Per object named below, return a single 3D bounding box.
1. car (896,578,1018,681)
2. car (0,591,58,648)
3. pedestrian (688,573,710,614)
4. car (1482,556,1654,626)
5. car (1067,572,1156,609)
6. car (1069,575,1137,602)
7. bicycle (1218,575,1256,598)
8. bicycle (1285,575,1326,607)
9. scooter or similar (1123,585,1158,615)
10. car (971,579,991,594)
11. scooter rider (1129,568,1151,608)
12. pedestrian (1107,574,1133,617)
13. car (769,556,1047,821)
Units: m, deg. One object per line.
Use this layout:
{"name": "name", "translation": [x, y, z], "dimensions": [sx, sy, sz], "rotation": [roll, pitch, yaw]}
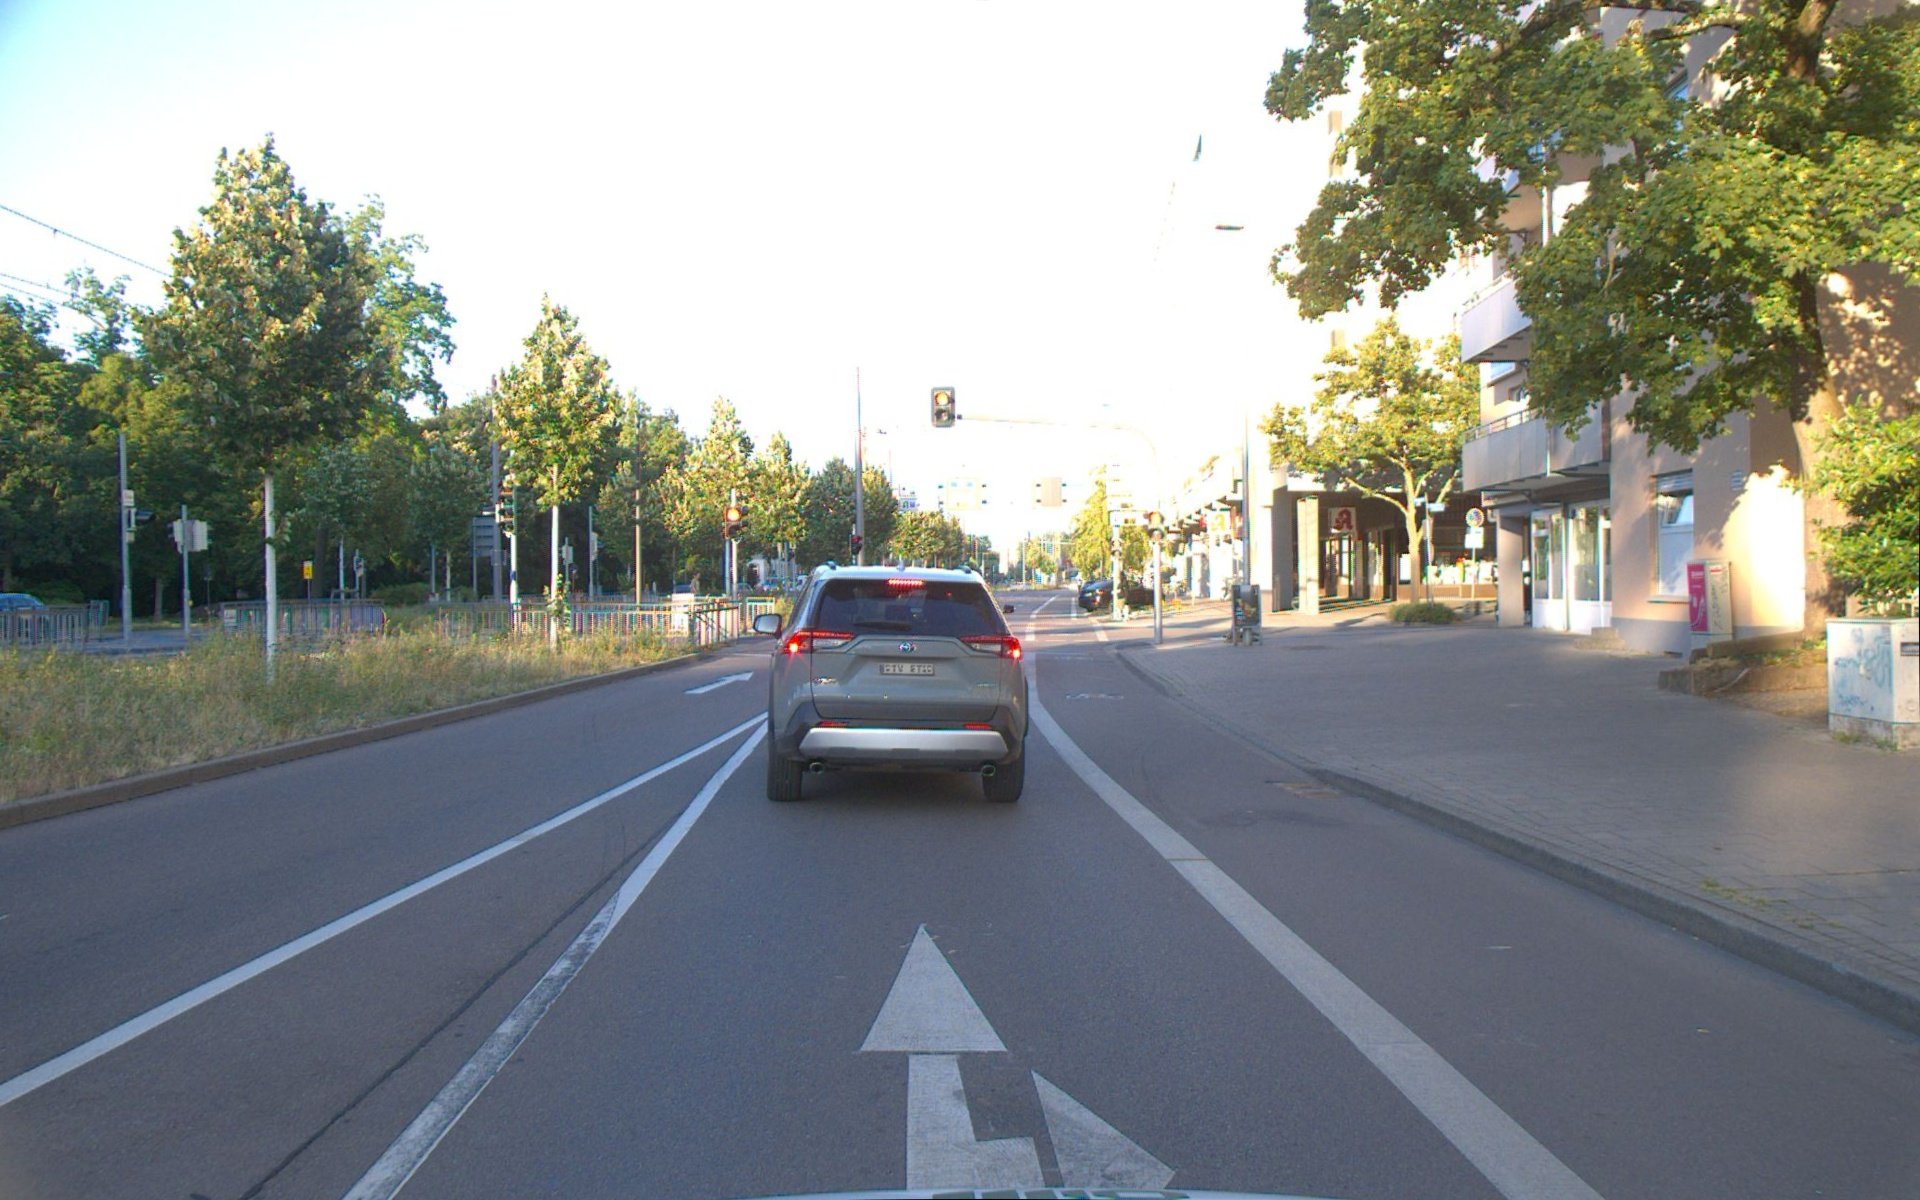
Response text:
{"name": "car", "translation": [-0.019, 0.434, 28.191], "dimensions": [1.892, 1.507, 4.523], "rotation": [1, 2, 1]}
{"name": "car", "translation": [-28.107, 0.583, 47.292], "dimensions": [1.891, 1.507, 4.525], "rotation": [1, 2, 4]}
{"name": "pedestrian", "translation": [-11.118, -0.271, 70.541], "dimensions": [0.818, 1.742, 0.648], "rotation": [-1, 0, 1]}
{"name": "car", "translation": [16.166, -0.221, 44.129], "dimensions": [3.955, 1.613, 1.706], "rotation": [-2, -3, 6]}
{"name": "car", "translation": [7.300, -0.482, 79.378], "dimensions": [4.230, 1.687, 1.833], "rotation": [-1, 2, -41]}
{"name": "car", "translation": [9.310, -0.762, 107.823], "dimensions": [4.215, 1.687, 1.840], "rotation": [-1, 2, -33]}
{"name": "bicycle", "translation": [15.321, -0.733, 91.485], "dimensions": [1.973, 1.169, 0.691], "rotation": [2, 0, 8]}
{"name": "bicycle", "translation": [13.332, -0.354, 63.892], "dimensions": [0.677, 1.169, 2.014], "rotation": [2, 0, -16]}
{"name": "scooter or similar", "translation": [7.024, -0.003, 64.375], "dimensions": [1.301, 1.173, 0.514], "rotation": [-1, 0, 8]}
{"name": "car", "translation": [2.199, -1.396, 169.825], "dimensions": [1.938, 1.458, 4.845], "rotation": [1, 2, 2]}
{"name": "scooter rider", "translation": [7.014, -0.452, 64.403], "dimensions": [0.803, 1.540, 0.653], "rotation": [-1, 0, 8]}
{"name": "pedestrian", "translation": [6.045, -0.163, 62.344], "dimensions": [0.817, 1.614, 0.812], "rotation": [-1, 0, 16]}
{"name": "car", "translation": [-0.531, 0.527, 12.991], "dimensions": [1.818, 1.687, 4.264], "rotation": [0, 2, -5]}
